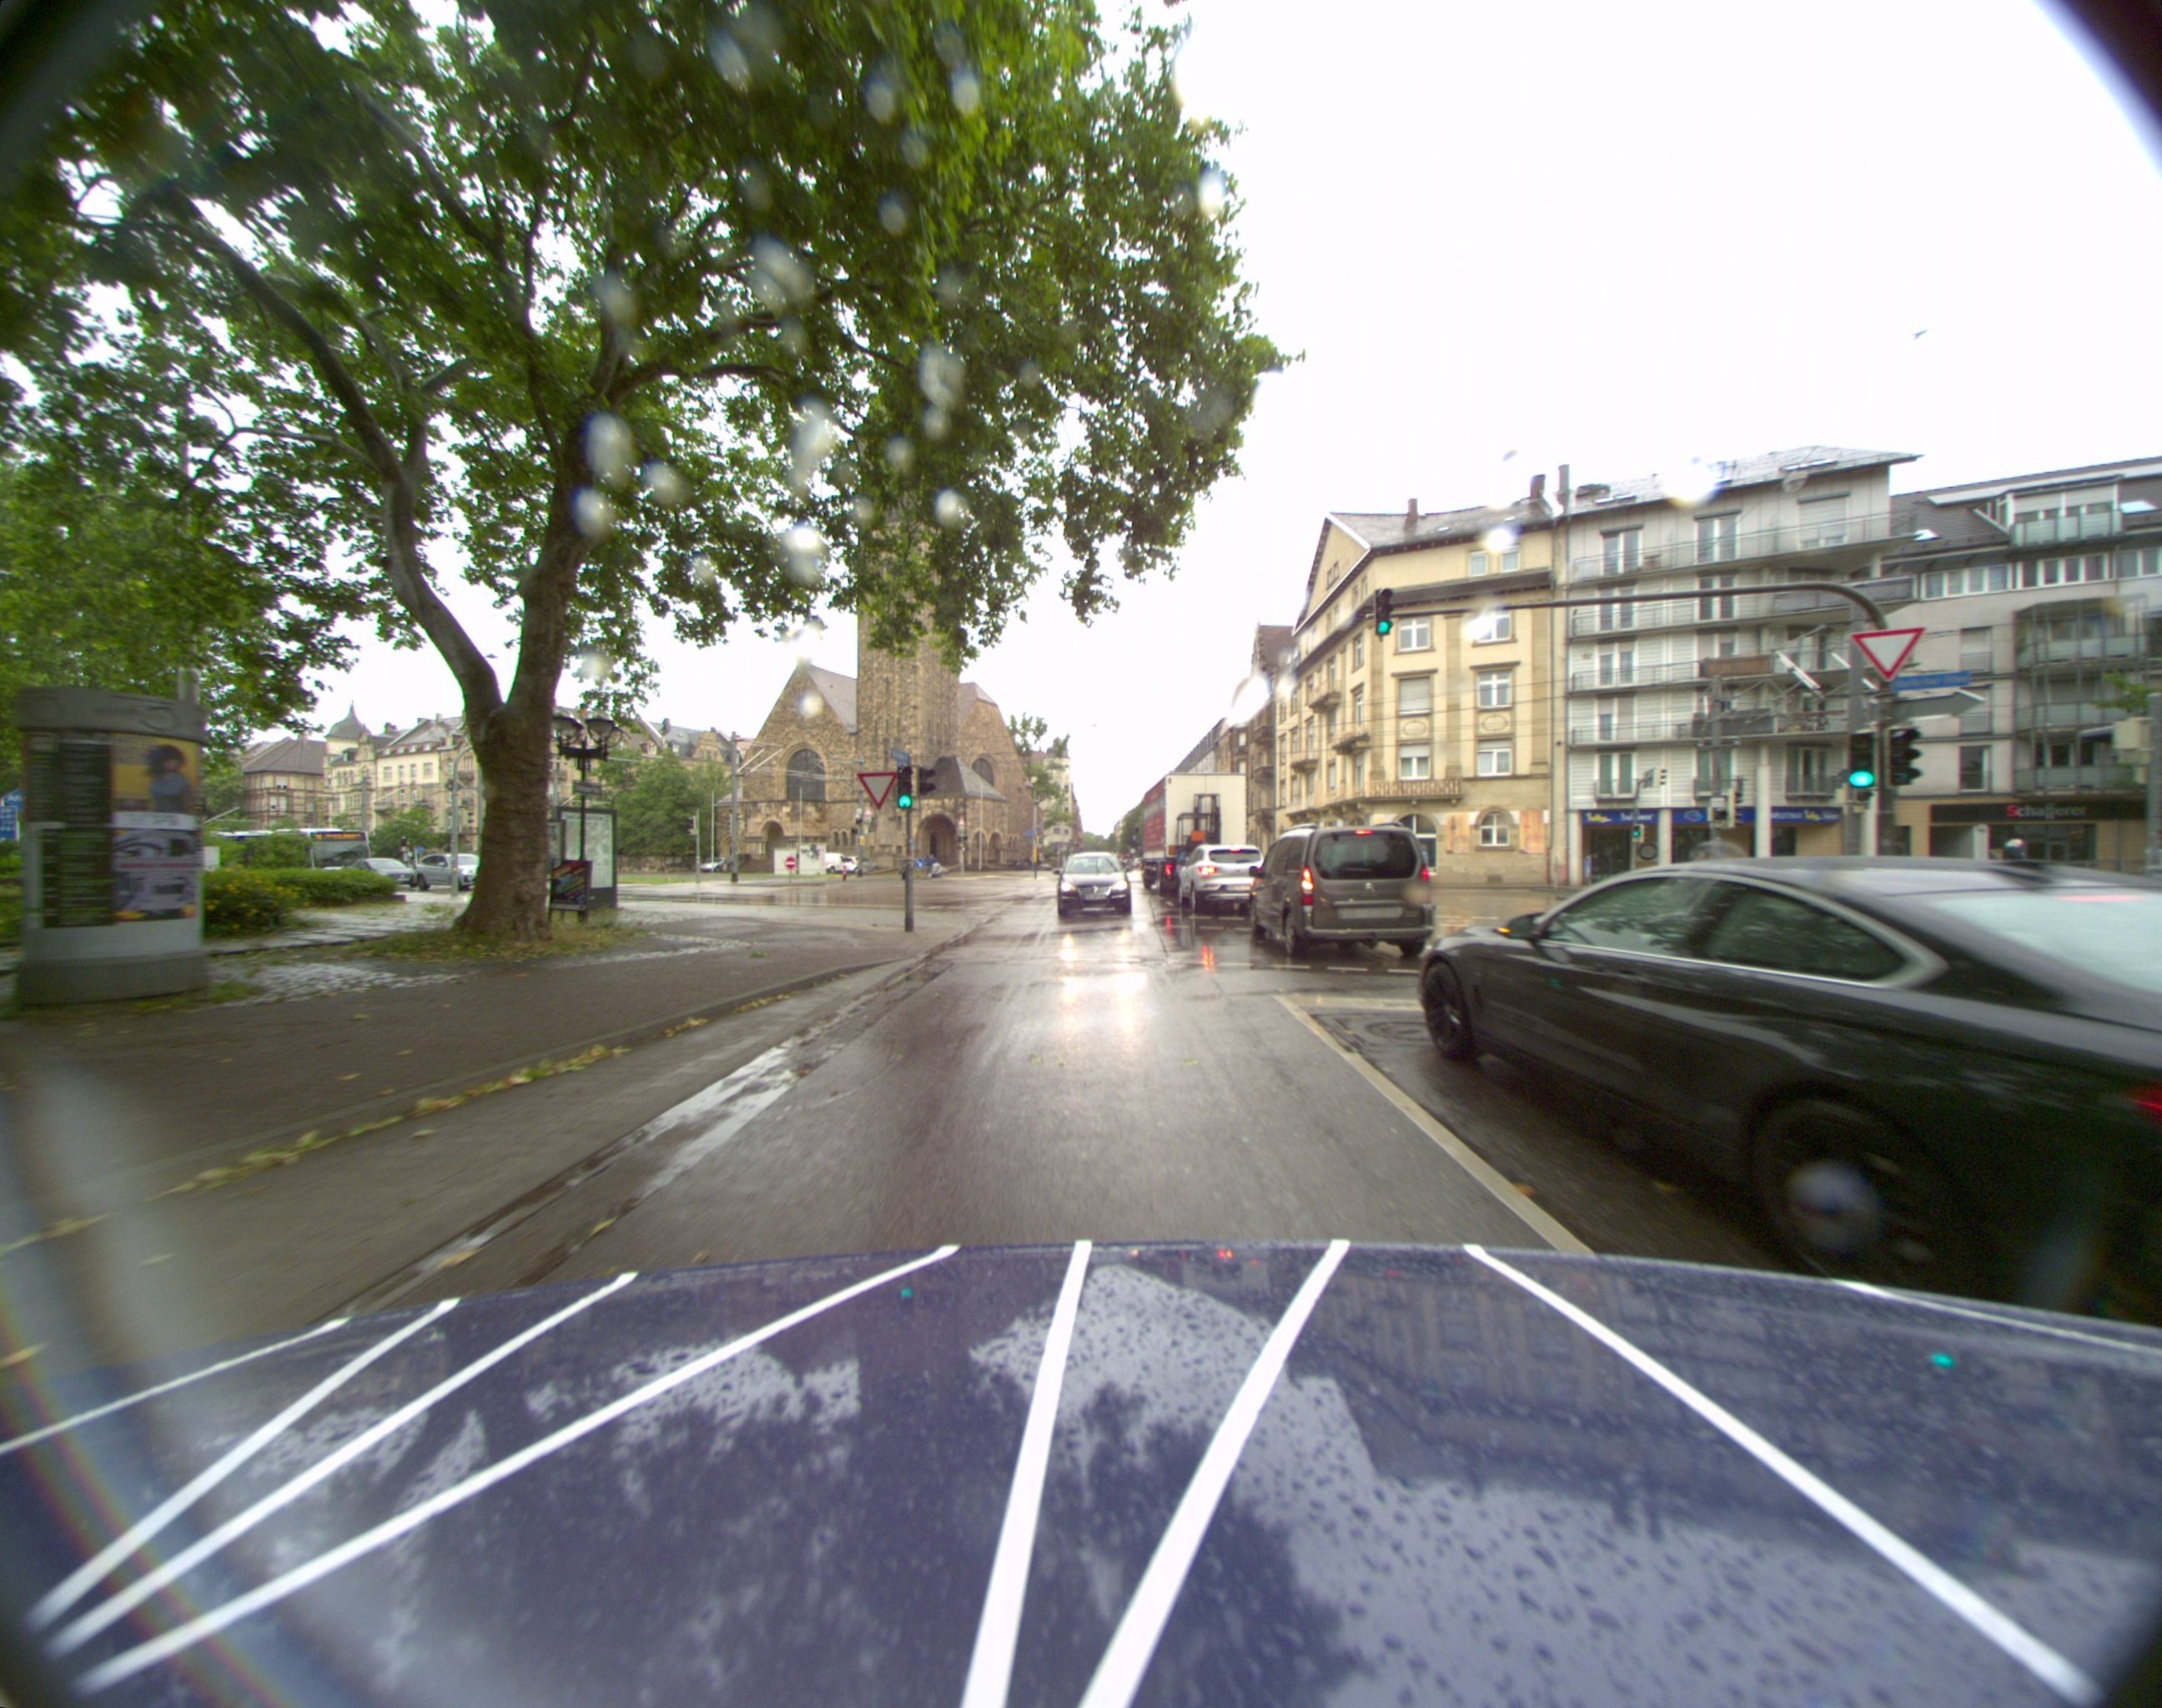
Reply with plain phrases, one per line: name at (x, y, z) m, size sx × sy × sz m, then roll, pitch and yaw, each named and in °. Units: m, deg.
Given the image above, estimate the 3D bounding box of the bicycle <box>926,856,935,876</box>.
bicycle at (-11.201, 0.875, 56.701) m, size 0.533 × 1.458 × 1.939 m, roll 0°, pitch 0°, yaw -8°

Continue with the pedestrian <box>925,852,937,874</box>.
pedestrian at (-11.855, 0.699, 60.149) m, size 0.632 × 1.693 × 0.679 m, roll 0°, pitch 0°, yaw 22°

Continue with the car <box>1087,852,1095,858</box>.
car at (2.898, 0.192, 220.002) m, size 1.998 × 1.705 × 3.804 m, roll 1°, pitch 0°, yaw 5°

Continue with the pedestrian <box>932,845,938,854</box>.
pedestrian at (-13.798, -0.455, 71.854) m, size 0.395 × 0.879 × 0.457 m, roll 0°, pitch 0°, yaw 24°

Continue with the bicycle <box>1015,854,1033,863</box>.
bicycle at (-6.531, 0.485, 87.207) m, size 1.923 × 1.054 × 0.582 m, roll 1°, pitch 0°, yaw 23°

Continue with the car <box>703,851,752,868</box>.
car at (-34.237, 0.549, 73.656) m, size 1.995 × 1.608 × 4.007 m, roll 0°, pitch 0°, yaw 25°

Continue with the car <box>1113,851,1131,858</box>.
car at (10.190, 0.212, 188.989) m, size 3.809 × 1.705 × 1.995 m, roll 1°, pitch 0°, yaw -32°

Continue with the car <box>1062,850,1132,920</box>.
car at (0.409, 0.704, 19.128) m, size 1.547 × 1.553 × 4.071 m, roll 1°, pitch 0°, yaw 1°

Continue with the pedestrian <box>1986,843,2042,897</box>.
pedestrian at (29.095, 0.475, 23.701) m, size 0.754 × 1.639 × 0.839 m, roll 1°, pitch 1°, yaw 22°

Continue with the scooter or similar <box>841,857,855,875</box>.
scooter or similar at (-18.523, 0.938, 60.420) m, size 1.101 × 1.379 × 0.287 m, roll 0°, pitch 0°, yaw 24°

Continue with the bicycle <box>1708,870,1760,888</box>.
bicycle at (33.315, 1.273, 38.789) m, size 1.922 × 0.861 × 0.582 m, roll 0°, pitch 0°, yaw 27°

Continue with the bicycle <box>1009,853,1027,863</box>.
bicycle at (-7.115, 0.463, 85.873) m, size 1.923 × 1.054 × 0.582 m, roll 1°, pitch 0°, yaw 20°

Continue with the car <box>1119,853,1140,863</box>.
car at (10.217, 0.832, 161.223) m, size 4.006 × 2.002 × 1.995 m, roll 1°, pitch 0°, yaw -27°

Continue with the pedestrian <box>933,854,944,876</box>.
pedestrian at (-10.607, 0.805, 56.592) m, size 0.604 × 1.653 × 0.689 m, roll 0°, pitch 0°, yaw 4°

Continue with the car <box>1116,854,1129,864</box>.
car at (6.283, 0.717, 116.043) m, size 1.748 × 1.537 × 3.778 m, roll 1°, pitch 0°, yaw 0°

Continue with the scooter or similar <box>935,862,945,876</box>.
scooter or similar at (-10.372, 1.079, 55.942) m, size 0.514 × 1.042 × 0.924 m, roll 0°, pitch 0°, yaw 4°

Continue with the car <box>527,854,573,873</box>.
car at (-53.340, 0.928, 76.325) m, size 3.990 × 1.783 × 1.983 m, roll 0°, pitch 0°, yaw 22°

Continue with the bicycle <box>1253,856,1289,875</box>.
bicycle at (13.566, 0.825, 54.263) m, size 2.347 × 1.338 × 0.640 m, roll 0°, pitch 0°, yaw -3°

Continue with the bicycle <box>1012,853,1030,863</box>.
bicycle at (-6.839, 0.474, 86.489) m, size 1.923 × 1.054 × 0.582 m, roll 1°, pitch 0°, yaw 23°

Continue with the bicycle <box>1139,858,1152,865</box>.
bicycle at (9.502, 1.092, 111.992) m, size 1.687 × 1.067 × 0.545 m, roll -2°, pitch 1°, yaw -2°

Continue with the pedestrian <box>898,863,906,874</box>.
pedestrian at (-14.617, 1.176, 62.065) m, size 0.455 × 0.879 × 0.397 m, roll 0°, pitch 0°, yaw 22°

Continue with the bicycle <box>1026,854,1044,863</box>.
bicycle at (-5.410, 0.487, 89.028) m, size 1.977 × 1.060 × 0.607 m, roll 1°, pitch 0°, yaw 24°

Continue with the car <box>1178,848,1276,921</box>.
car at (3.446, 0.657, 18.588) m, size 1.746 × 1.595 × 4.000 m, roll 0°, pitch 0°, yaw 2°

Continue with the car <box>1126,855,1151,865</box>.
car at (9.678, 0.986, 127.951) m, size 3.802 × 1.705 × 1.998 m, roll 1°, pitch 0°, yaw -9°

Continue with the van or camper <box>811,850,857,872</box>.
van or camper at (-22.155, 0.595, 68.332) m, size 1.644 × 1.719 × 3.934 m, roll 1°, pitch 4°, yaw 25°

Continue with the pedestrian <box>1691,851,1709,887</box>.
pedestrian at (30.914, 0.745, 37.951) m, size 0.610 × 1.770 × 0.500 m, roll 0°, pitch 1°, yaw 26°

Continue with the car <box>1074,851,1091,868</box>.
car at (0.175, 0.631, 90.170) m, size 1.909 × 1.911 × 5.272 m, roll 1°, pitch 0°, yaw 1°

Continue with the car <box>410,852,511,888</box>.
car at (-28.798, 0.722, 35.239) m, size 4.543 × 1.590 × 1.795 m, roll 0°, pitch 0°, yaw 24°

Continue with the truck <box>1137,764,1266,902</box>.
truck at (3.902, -0.612, 27.350) m, size 2.853 × 4.002 × 10.315 m, roll 1°, pitch 0°, yaw 0°

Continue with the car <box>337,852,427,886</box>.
car at (-34.741, 0.728, 37.759) m, size 4.168 × 1.590 × 1.782 m, roll 0°, pitch 0°, yaw 24°

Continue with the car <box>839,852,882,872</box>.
car at (-19.303, 0.691, 66.743) m, size 1.732 × 1.565 × 3.363 m, roll 0°, pitch 3°, yaw 28°

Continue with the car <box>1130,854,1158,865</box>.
car at (9.940, 0.863, 120.153) m, size 4.006 × 1.804 × 1.996 m, roll 1°, pitch 0°, yaw -25°

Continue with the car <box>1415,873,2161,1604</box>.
car at (3.235, 0.877, 3.319) m, size 1.746 × 1.381 × 4.362 m, roll -1°, pitch 1°, yaw 2°

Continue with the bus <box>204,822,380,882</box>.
bus at (-44.531, -0.108, 42.750) m, size 12.071 × 3.095 × 2.899 m, roll 0°, pitch 0°, yaw 24°

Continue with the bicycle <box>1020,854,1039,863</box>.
bicycle at (-5.984, 0.489, 88.029) m, size 2.150 × 1.054 × 0.679 m, roll 1°, pitch 0°, yaw 23°

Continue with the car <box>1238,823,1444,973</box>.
car at (3.646, 0.538, 11.473) m, size 1.811 × 1.851 × 4.109 m, roll 0°, pitch 0°, yaw 2°

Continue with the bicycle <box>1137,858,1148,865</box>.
bicycle at (9.327, 1.121, 115.759) m, size 1.687 × 1.067 × 0.545 m, roll 0°, pitch 1°, yaw -2°
